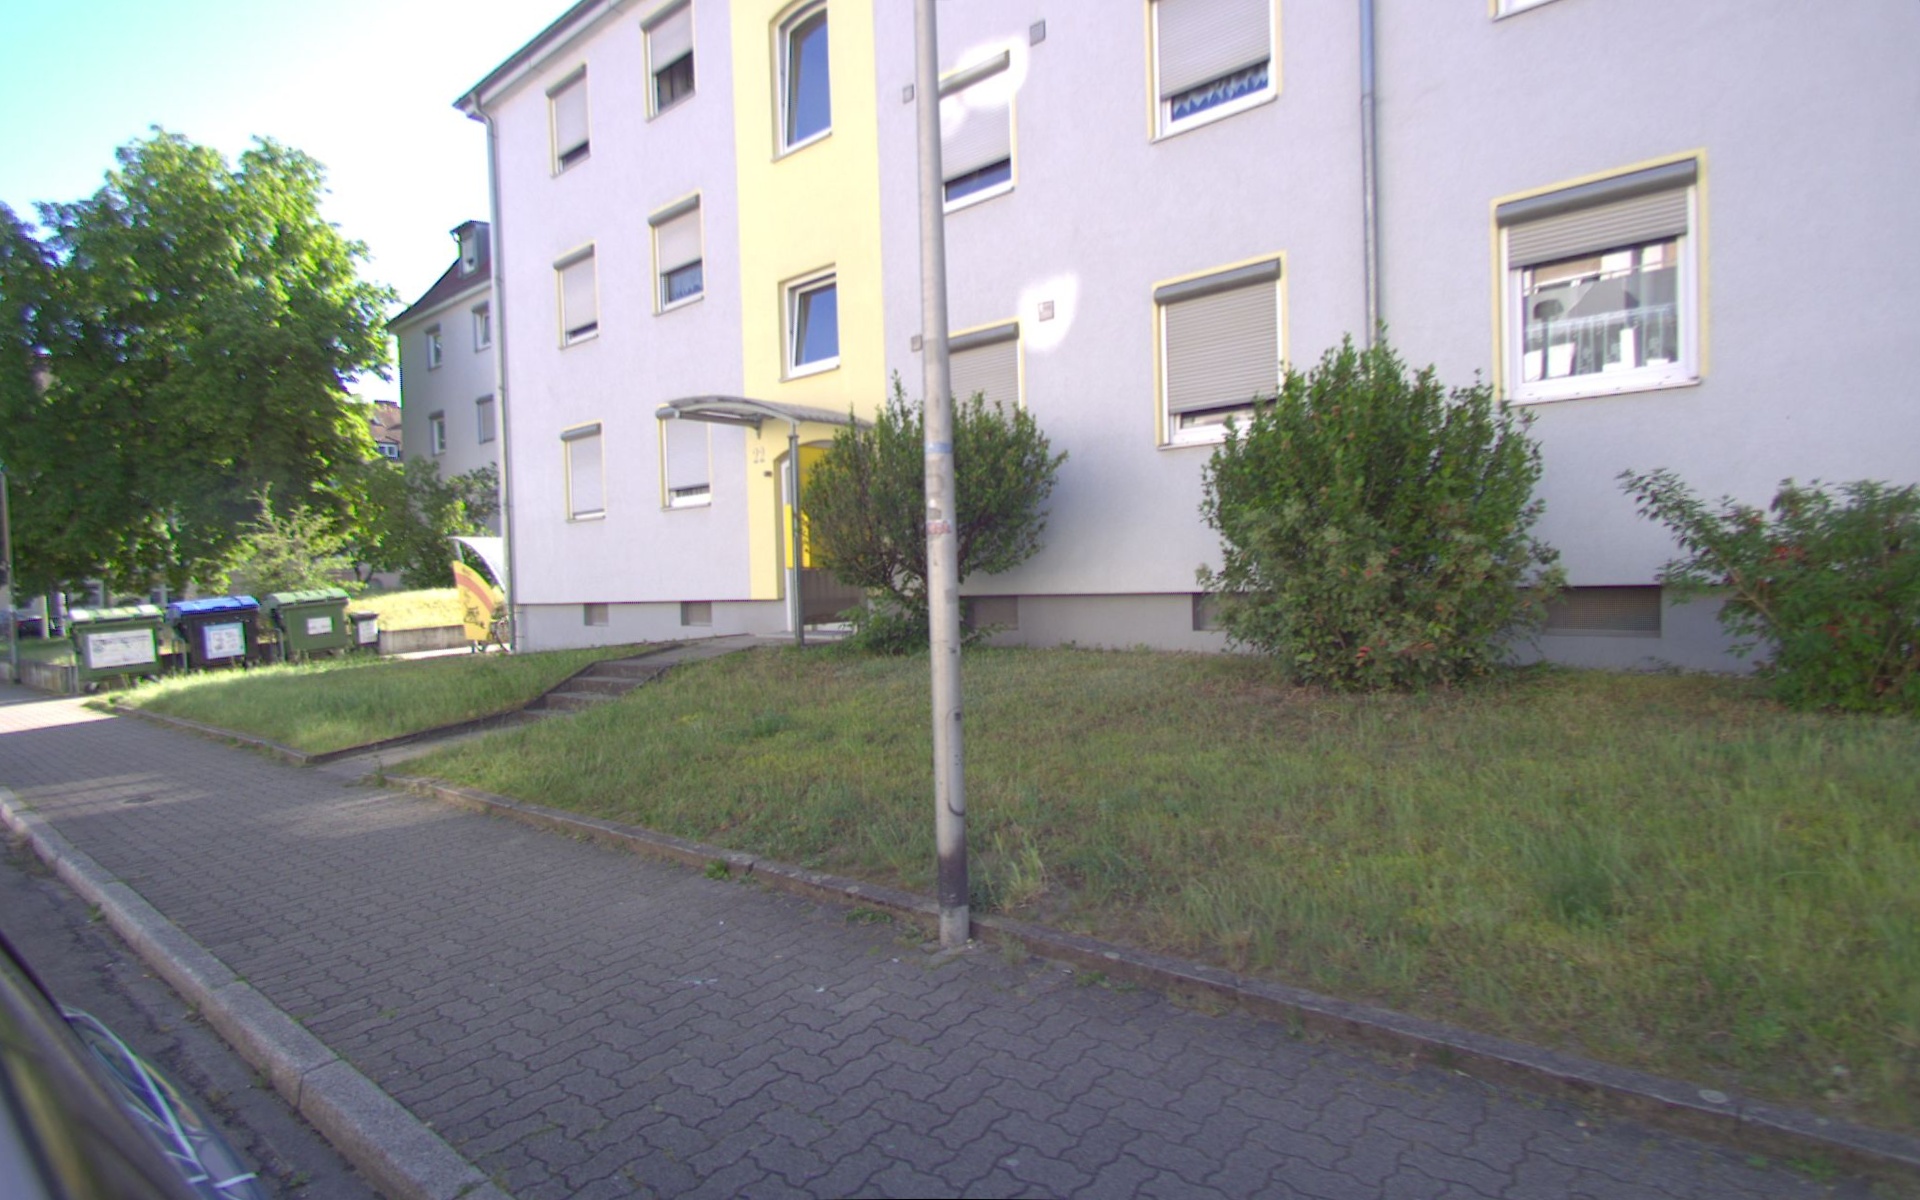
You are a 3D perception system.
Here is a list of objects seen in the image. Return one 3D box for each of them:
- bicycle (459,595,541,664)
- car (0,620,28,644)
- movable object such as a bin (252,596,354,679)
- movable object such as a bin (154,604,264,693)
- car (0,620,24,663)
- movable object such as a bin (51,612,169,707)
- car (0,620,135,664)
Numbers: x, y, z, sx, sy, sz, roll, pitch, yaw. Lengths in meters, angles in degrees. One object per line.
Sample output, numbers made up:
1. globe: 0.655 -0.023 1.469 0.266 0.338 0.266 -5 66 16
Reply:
1. bicycle: -9.027 0.572 19.812 2.008 1.260 0.633 -2 1 41
2. car: -61.575 2.058 64.011 1.624 1.456 3.737 -2 0 42
3. movable object such as a bin: -13.201 0.731 20.355 1.072 1.463 1.347 -2 5 41
4. movable object such as a bin: -14.195 0.883 19.142 1.082 1.470 1.342 -2 5 41
5. car: -39.051 1.682 40.895 3.306 1.667 1.655 -2 0 45
6. movable object such as a bin: -15.092 1.024 17.975 1.197 1.470 1.302 -2 4 41
7. car: -35.540 1.633 40.151 1.728 1.508 4.088 -2 0 40
